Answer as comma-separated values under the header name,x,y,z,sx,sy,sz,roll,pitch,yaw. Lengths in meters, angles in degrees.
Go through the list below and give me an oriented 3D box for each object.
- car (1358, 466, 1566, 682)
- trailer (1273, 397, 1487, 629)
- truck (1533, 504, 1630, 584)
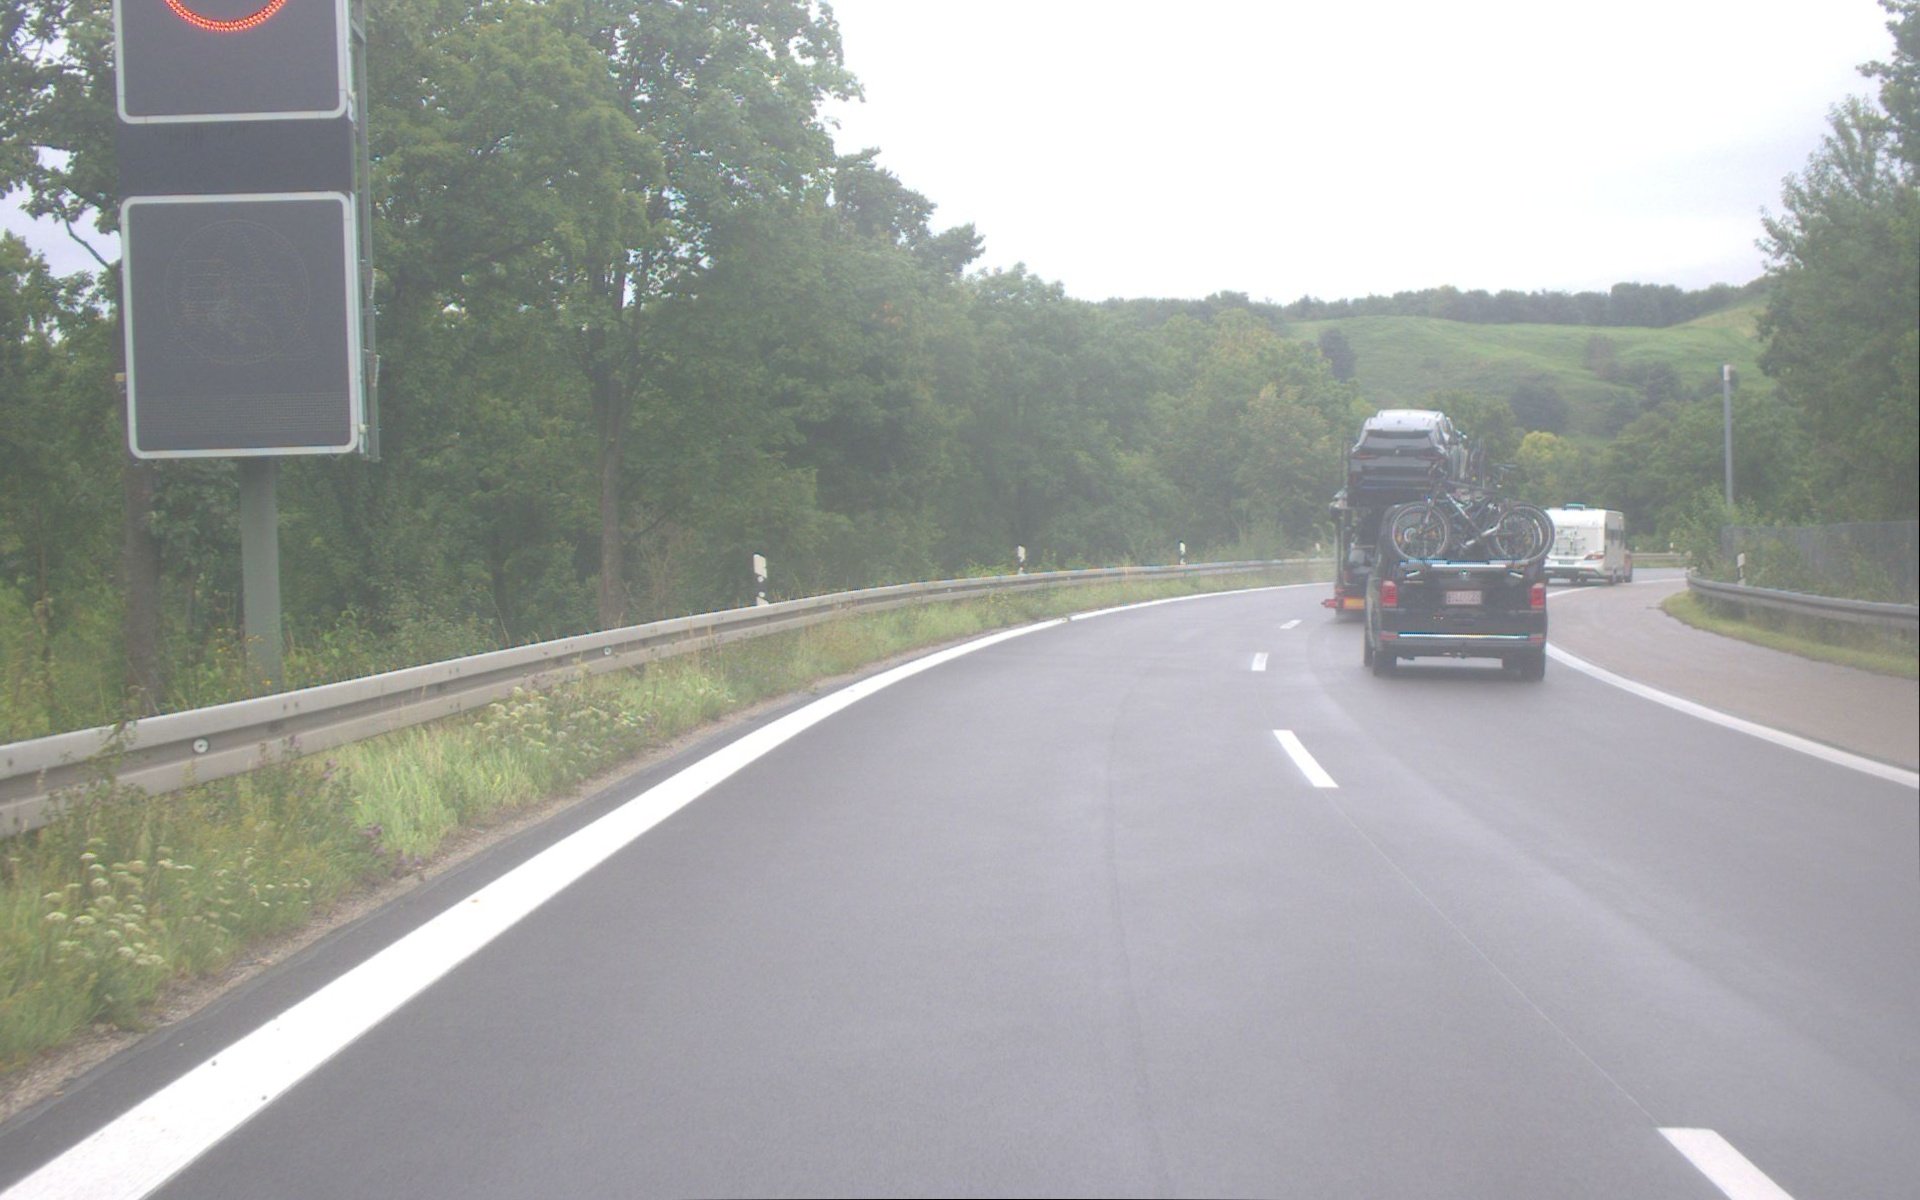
name,x,y,z,sx,sy,sz,roll,pitch,yaw
car,5.579,-0.336,38.857,2.110,2.257,5.895,0,1,6
trailer,7.961,-1.682,66.757,3.449,3.986,12.025,2,2,4
truck,21.164,-1.933,116.870,2.650,2.596,6.415,0,1,15
